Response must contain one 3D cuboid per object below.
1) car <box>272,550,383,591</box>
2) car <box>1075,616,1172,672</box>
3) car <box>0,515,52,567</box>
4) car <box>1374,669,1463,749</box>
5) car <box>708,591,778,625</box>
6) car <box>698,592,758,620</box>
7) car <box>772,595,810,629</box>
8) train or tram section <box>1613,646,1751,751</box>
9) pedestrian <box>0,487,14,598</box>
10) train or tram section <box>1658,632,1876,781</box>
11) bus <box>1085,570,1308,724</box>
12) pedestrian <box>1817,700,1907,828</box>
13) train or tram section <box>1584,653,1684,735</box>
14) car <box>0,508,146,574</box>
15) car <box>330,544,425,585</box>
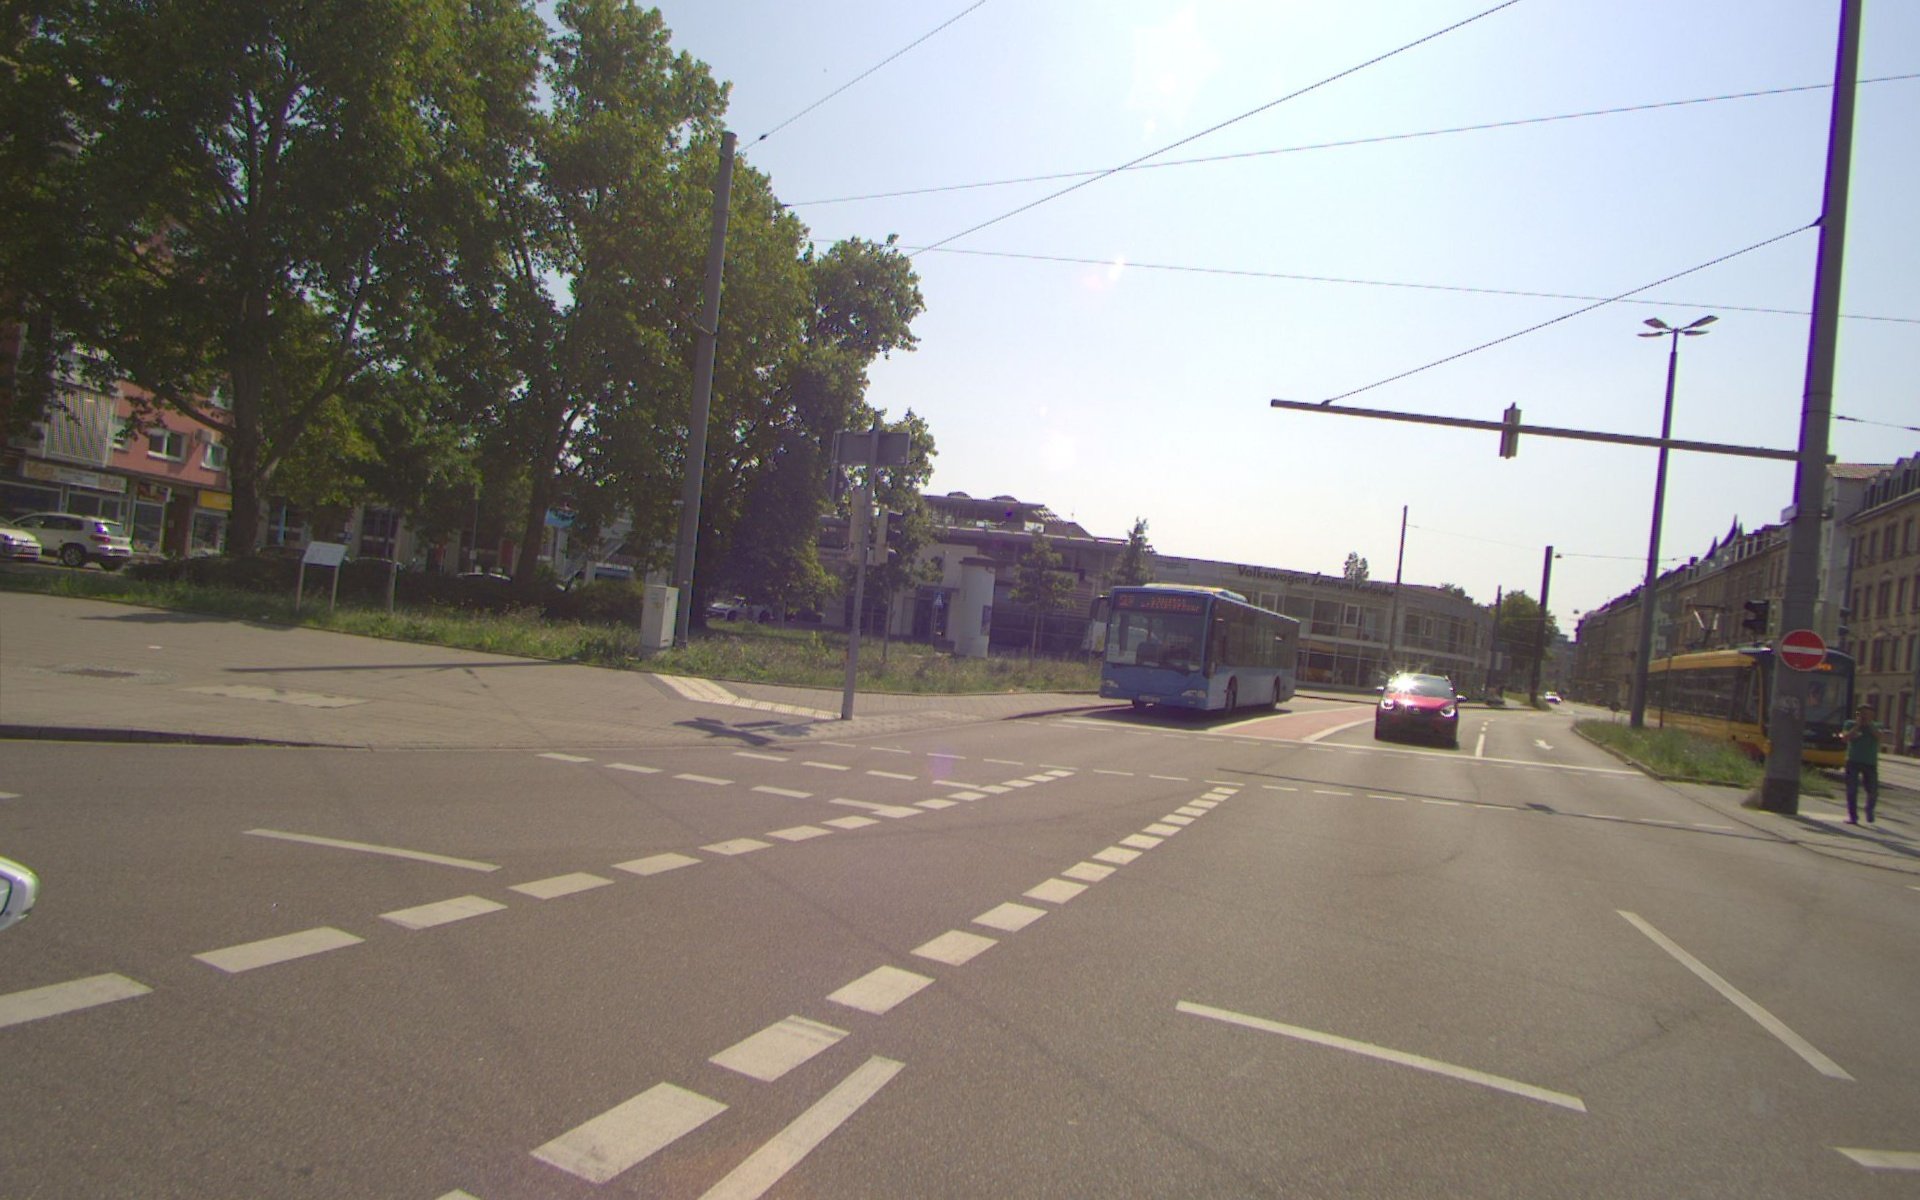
[{"bbox_3d":[-30.273,-1.387,48.218,4.003,1.414,1.789,7,-1,-8],"label":"car"},{"bbox_3d":[9.759,2.607,60.124,5.126,2.615,1.847,8,-1,-6],"label":"car"},{"bbox_3d":[-29.732,-1.918,30.394,3.045,1.446,1.402,7,-1,-8],"label":"car"},{"bbox_3d":[10.686,2.471,23.354,1.601,1.489,3.769,6,-1,27],"label":"car"},{"bbox_3d":[-14.484,0.538,67.381,1.694,1.774,4.236,6,-1,44],"label":"car"},{"bbox_3d":[-16.414,0.446,71.299,1.964,1.526,3.998,6,-1,25],"label":"car"},{"bbox_3d":[-12.199,0.821,72.174,2.296,2.037,6.797,8,-1,-11],"label":"car"},{"bbox_3d":[30.470,4.073,43.031,2.550,3.603,12.207,6,-1,27],"label":"train or tram section"},{"bbox_3d":[-14.533,-0.883,14.493,0.933,1.629,0.792,5,0,-8],"label":"pedestrian"},{"bbox_3d":[25.091,3.220,32.088,2.550,3.603,12.207,6,-1,27],"label":"train or tram section"},{"bbox_3d":[7.002,1.462,27.557,2.687,3.101,12.070,6,-1,28],"label":"bus"},{"bbox_3d":[13.294,2.394,14.849,0.793,1.708,0.716,8,2,41],"label":"pedestrian"},{"bbox_3d":[35.854,4.931,53.949,2.550,3.603,12.207,6,-1,27],"label":"train or tram section"},{"bbox_3d":[-29.610,-1.960,33.018,4.003,1.686,1.789,7,-1,-8],"label":"car"},{"bbox_3d":[-31.916,-1.937,55.186,4.003,1.686,1.789,7,-1,-8],"label":"car"}]
